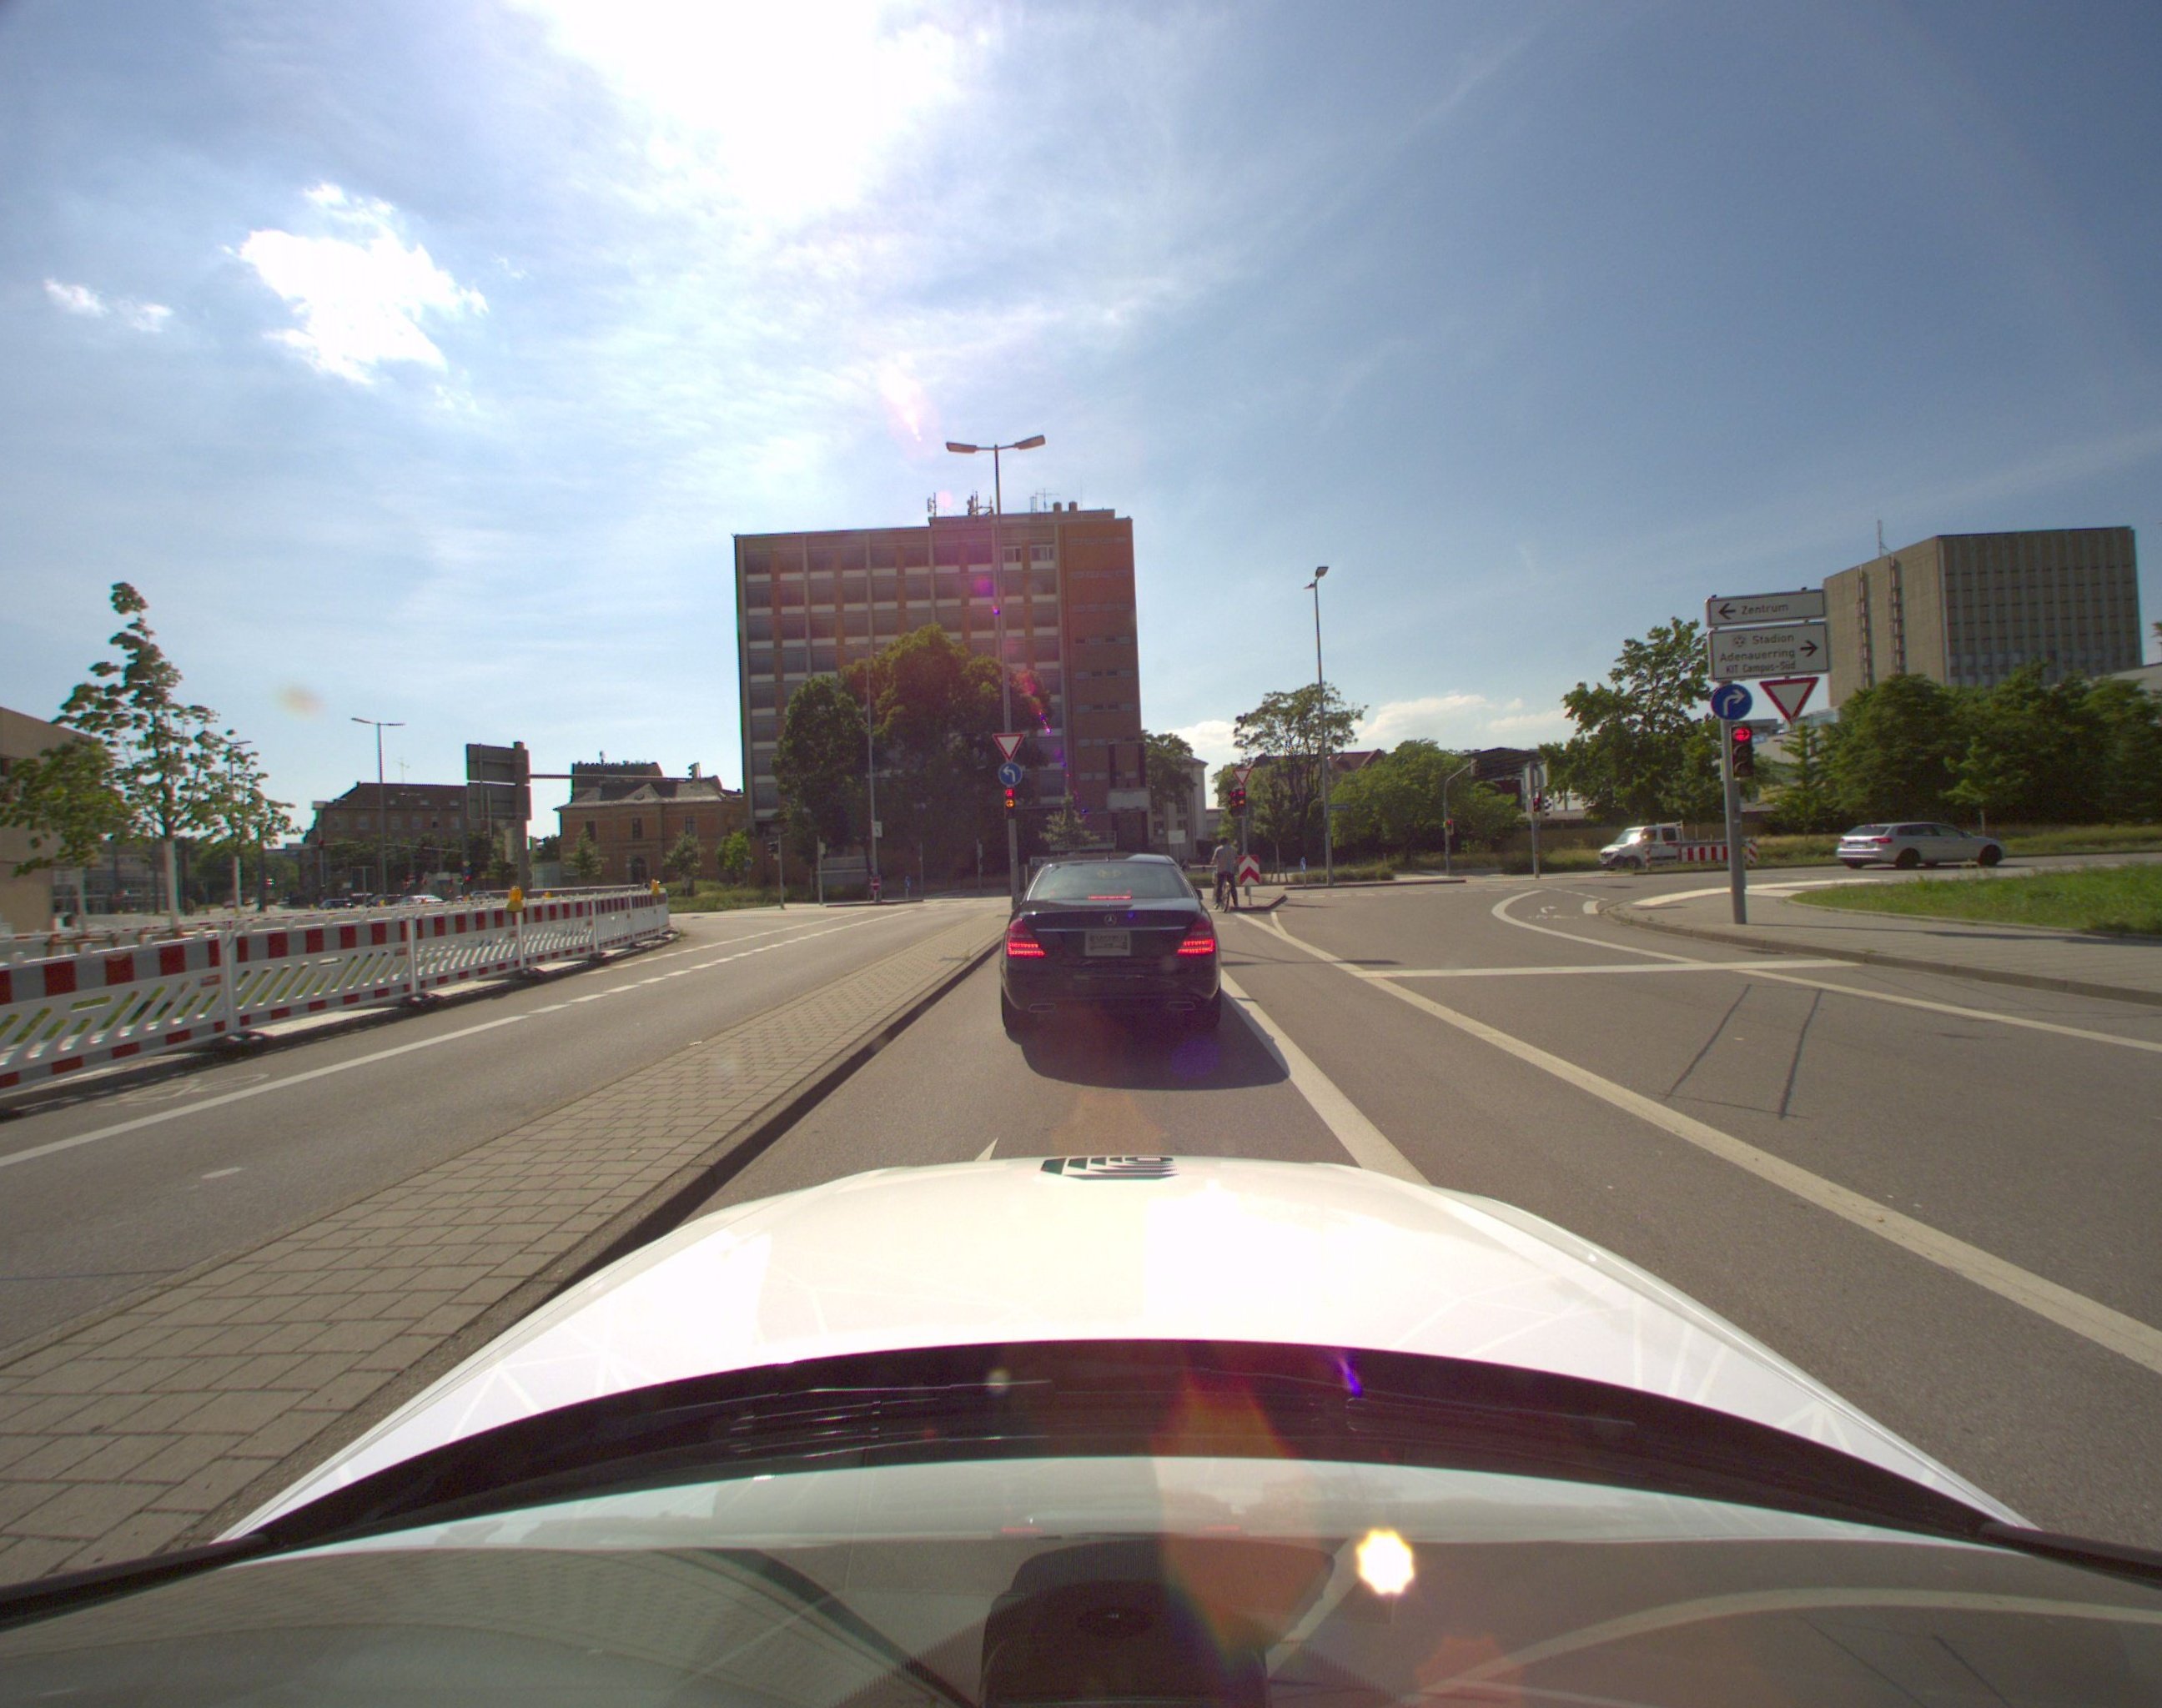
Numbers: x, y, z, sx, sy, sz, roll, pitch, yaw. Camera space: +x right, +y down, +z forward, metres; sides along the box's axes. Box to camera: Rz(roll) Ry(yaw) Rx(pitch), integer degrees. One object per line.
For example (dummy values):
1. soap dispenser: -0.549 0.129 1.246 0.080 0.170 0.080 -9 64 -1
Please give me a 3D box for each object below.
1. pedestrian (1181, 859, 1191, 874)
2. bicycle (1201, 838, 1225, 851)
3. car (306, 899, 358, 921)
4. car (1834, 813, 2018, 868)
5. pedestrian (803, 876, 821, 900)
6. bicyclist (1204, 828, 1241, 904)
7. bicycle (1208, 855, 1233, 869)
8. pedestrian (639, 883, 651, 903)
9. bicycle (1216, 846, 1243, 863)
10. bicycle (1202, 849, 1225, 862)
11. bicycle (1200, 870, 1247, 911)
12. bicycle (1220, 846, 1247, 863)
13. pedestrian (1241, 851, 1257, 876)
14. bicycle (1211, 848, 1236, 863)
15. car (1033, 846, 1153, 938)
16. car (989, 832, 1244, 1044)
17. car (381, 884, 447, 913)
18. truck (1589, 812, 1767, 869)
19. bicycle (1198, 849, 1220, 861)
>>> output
1. pedestrian: 8.233 0.972 63.716 0.788 1.214 0.759 -1 -1 8
2. bicycle: 16.503 -1.185 102.045 2.813 1.559 0.842 -3 0 1
3. car: -55.576 4.165 60.401 3.948 1.510 1.811 -3 -1 32
4. car: 25.833 -0.391 24.979 4.150 1.420 1.582 -3 0 -4
5. pedestrian: -19.596 2.479 59.361 0.790 1.725 0.878 -3 -1 24
6. bicyclist: 3.579 0.290 20.641 0.684 1.878 0.858 -1 -1 -5
7. bicycle: 16.767 0.960 98.155 2.813 1.537 0.842 -3 0 1
8. pedestrian: -36.786 3.254 68.656 0.642 1.661 0.654 -1 -1 28
9. bicycle: 17.042 0.081 93.566 2.813 1.744 0.842 -3 0 1
10. bicycle: 16.966 0.240 104.337 2.813 1.500 0.842 -3 0 1
11. bicycle: 3.589 0.901 20.665 0.691 0.946 1.955 0 -1 -4
12. bicycle: 17.103 0.048 91.304 2.813 1.836 0.842 -3 0 1
13. pedestrian: 10.749 0.619 52.142 0.807 1.579 0.693 -3 -1 3
14. bicycle: 16.817 0.158 96.119 2.813 1.659 0.842 -3 1 1
15. car: 0.260 0.646 15.524 1.986 1.508 4.001 0 -1 2
16. car: 0.304 0.636 8.336 1.852 1.530 4.714 -1 -1 1
17. car: -47.964 3.196 58.574 3.951 1.816 2.011 -3 -1 24
18. truck: 29.928 -0.629 41.023 6.997 2.356 2.414 -3 -2 2
19. bicycle: 16.661 0.141 106.044 2.812 1.480 0.842 -3 0 2
